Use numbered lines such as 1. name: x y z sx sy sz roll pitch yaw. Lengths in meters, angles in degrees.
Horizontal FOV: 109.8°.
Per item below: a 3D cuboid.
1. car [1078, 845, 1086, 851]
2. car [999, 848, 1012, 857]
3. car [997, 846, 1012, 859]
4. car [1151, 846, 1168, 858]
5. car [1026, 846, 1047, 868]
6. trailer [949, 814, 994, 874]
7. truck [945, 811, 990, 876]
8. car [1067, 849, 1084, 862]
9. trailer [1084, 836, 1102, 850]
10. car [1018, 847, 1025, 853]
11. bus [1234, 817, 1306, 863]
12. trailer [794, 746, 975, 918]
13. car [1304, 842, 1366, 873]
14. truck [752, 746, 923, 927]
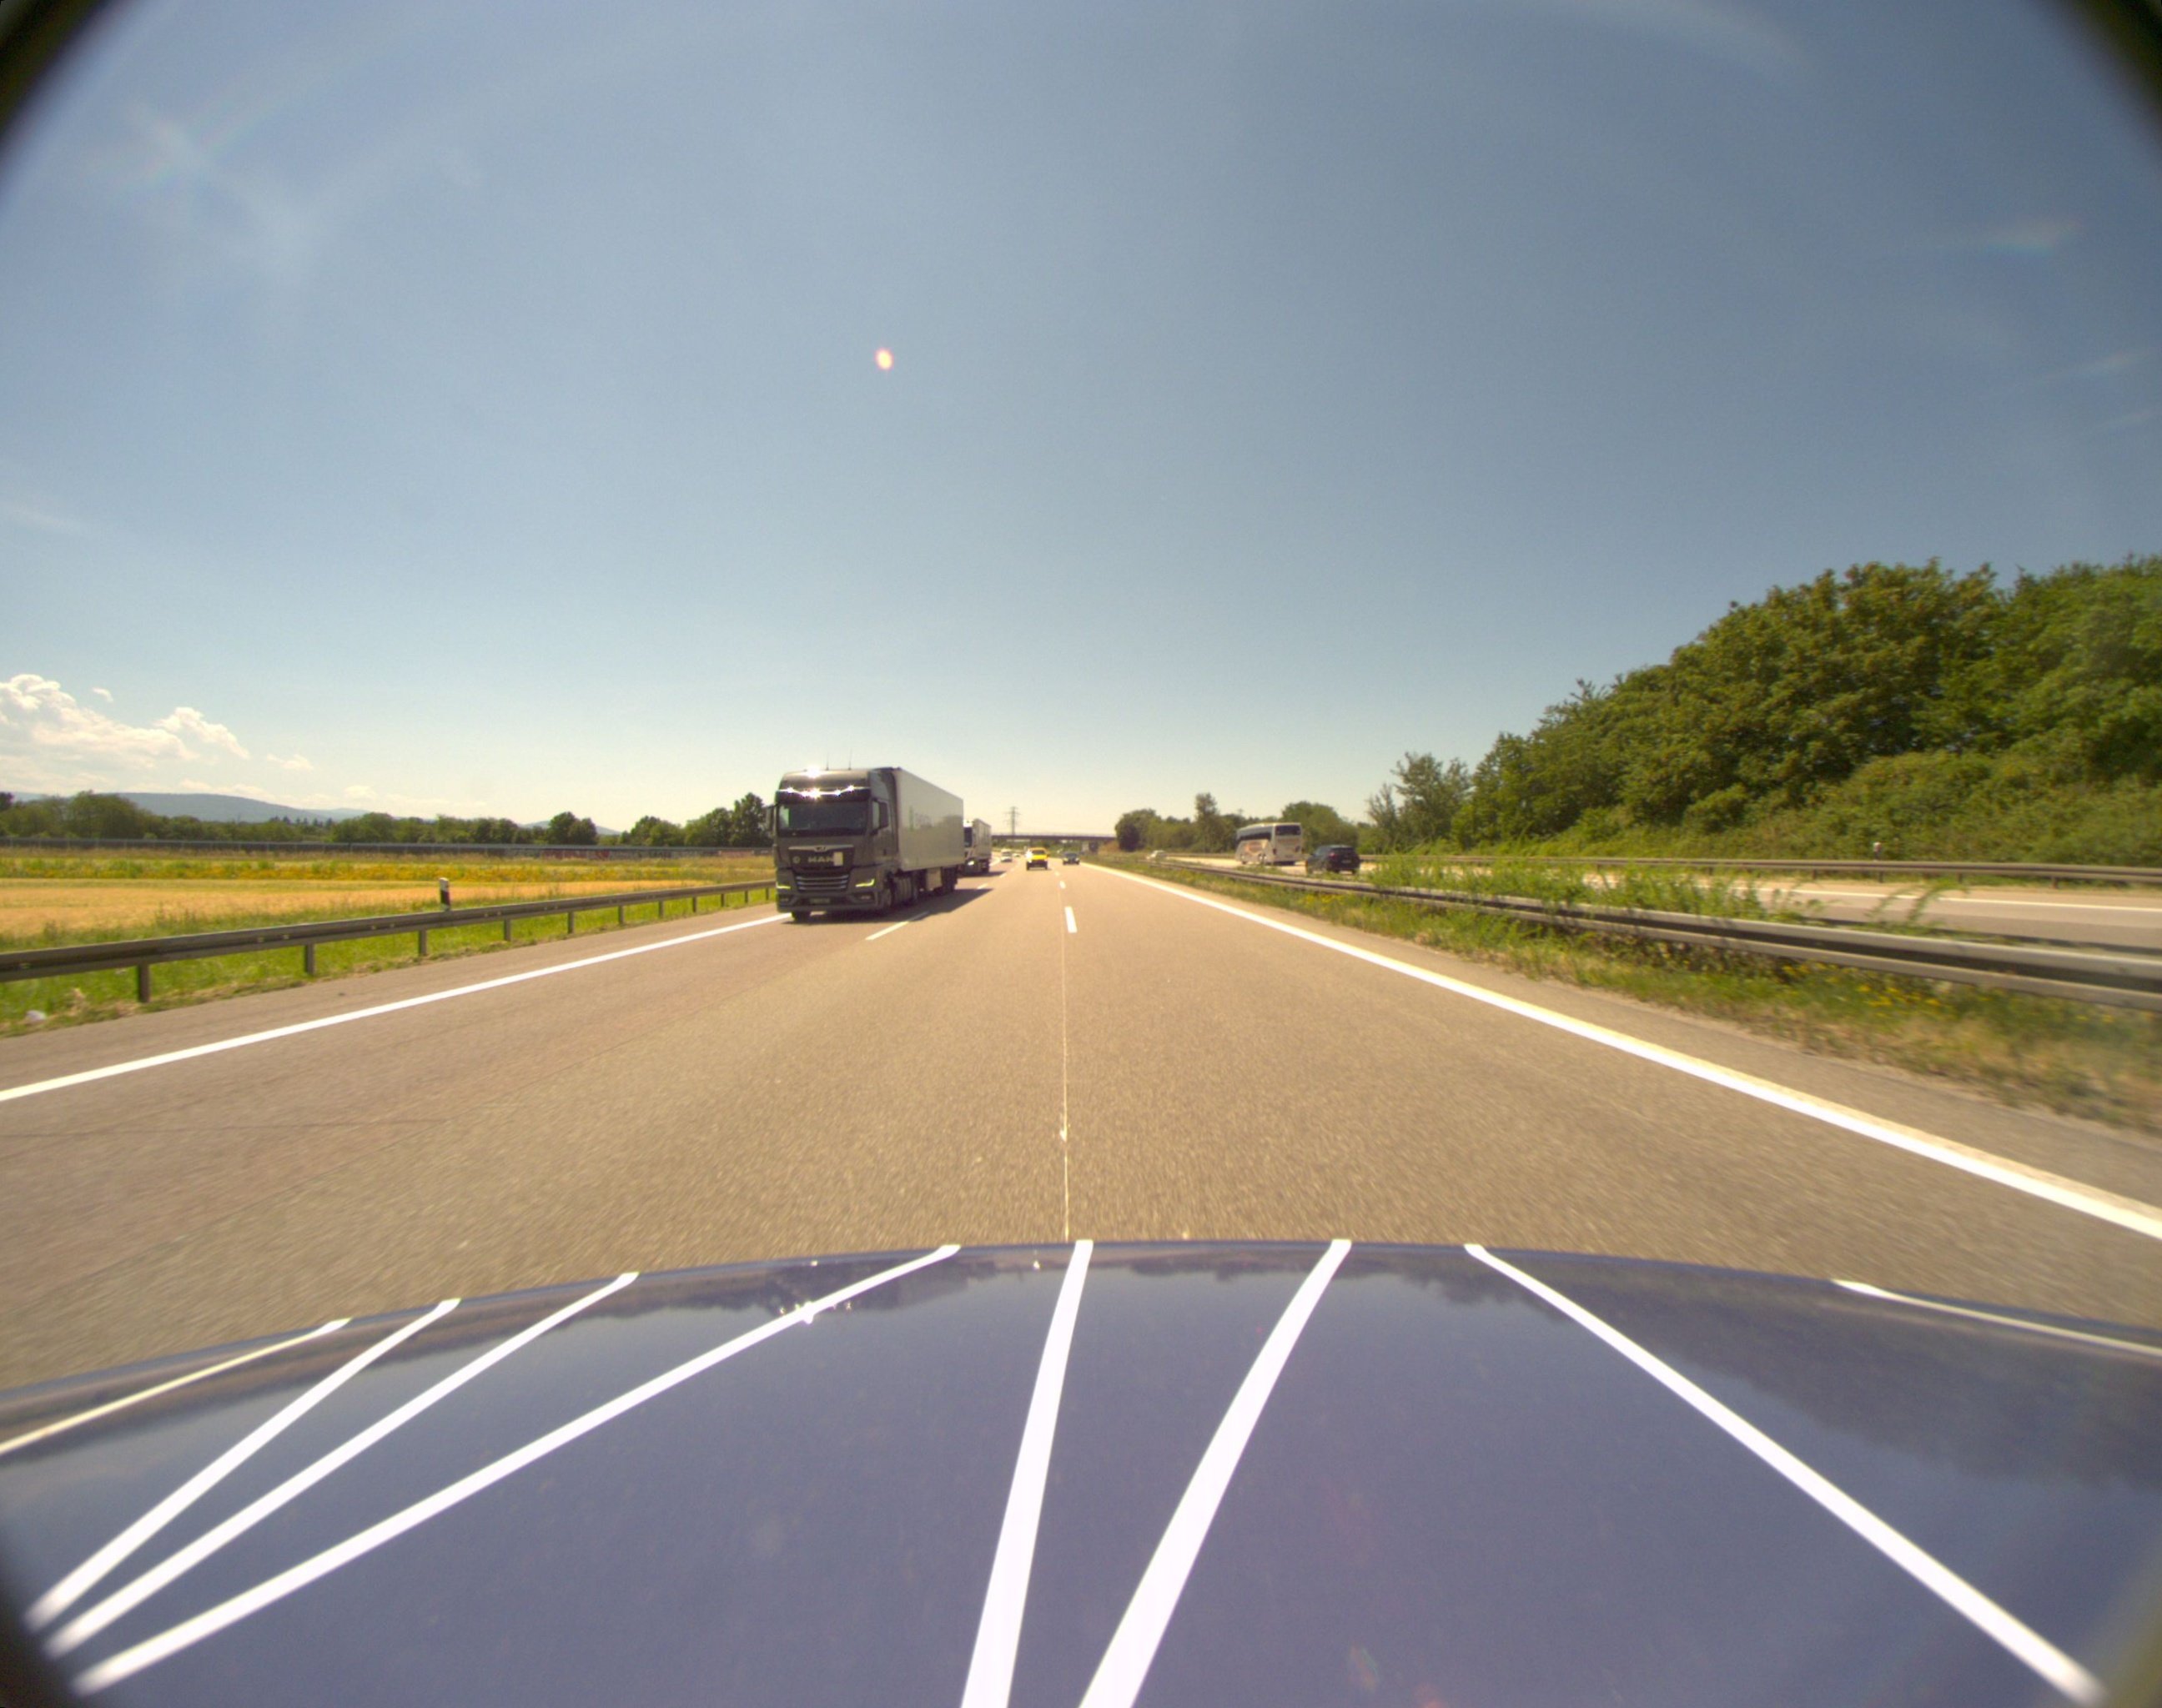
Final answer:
1. car: 0.175 -1.671 207.531 1.787 1.509 4.499 -1 1 -4
2. car: -12.757 -0.193 128.140 1.785 1.467 3.996 0 1 -10
3. car: -13.619 -0.291 134.639 2.190 2.253 4.946 0 1 -10
4. car: 11.066 -0.316 106.892 1.772 1.506 4.329 -2 1 -2
5. car: -3.986 0.229 67.548 1.777 1.882 3.830 0 1 -5
6. trailer: -8.513 -0.836 60.725 2.603 4.227 13.631 -2 1 -5
7. truck: -7.896 -0.726 53.240 2.608 4.232 5.086 -2 1 -4
8. car: -0.647 0.126 88.491 1.726 1.478 3.998 -1 1 -5
9. trailer: 3.317 -3.113 219.421 2.890 3.925 14.045 -1 1 -8
10. car: -16.938 -1.096 215.702 1.650 1.557 3.596 0 1 -10
11. bus: 16.741 -1.201 68.431 2.749 3.686 12.995 -2 1 -2
12. trailer: -6.331 -0.660 27.786 2.908 4.630 13.983 -2 1 0
13. car: 14.081 0.169 42.406 1.830 1.622 4.558 -1 1 -2
14. truck: -6.281 -0.441 20.506 2.915 4.232 4.974 -2 1 -1
